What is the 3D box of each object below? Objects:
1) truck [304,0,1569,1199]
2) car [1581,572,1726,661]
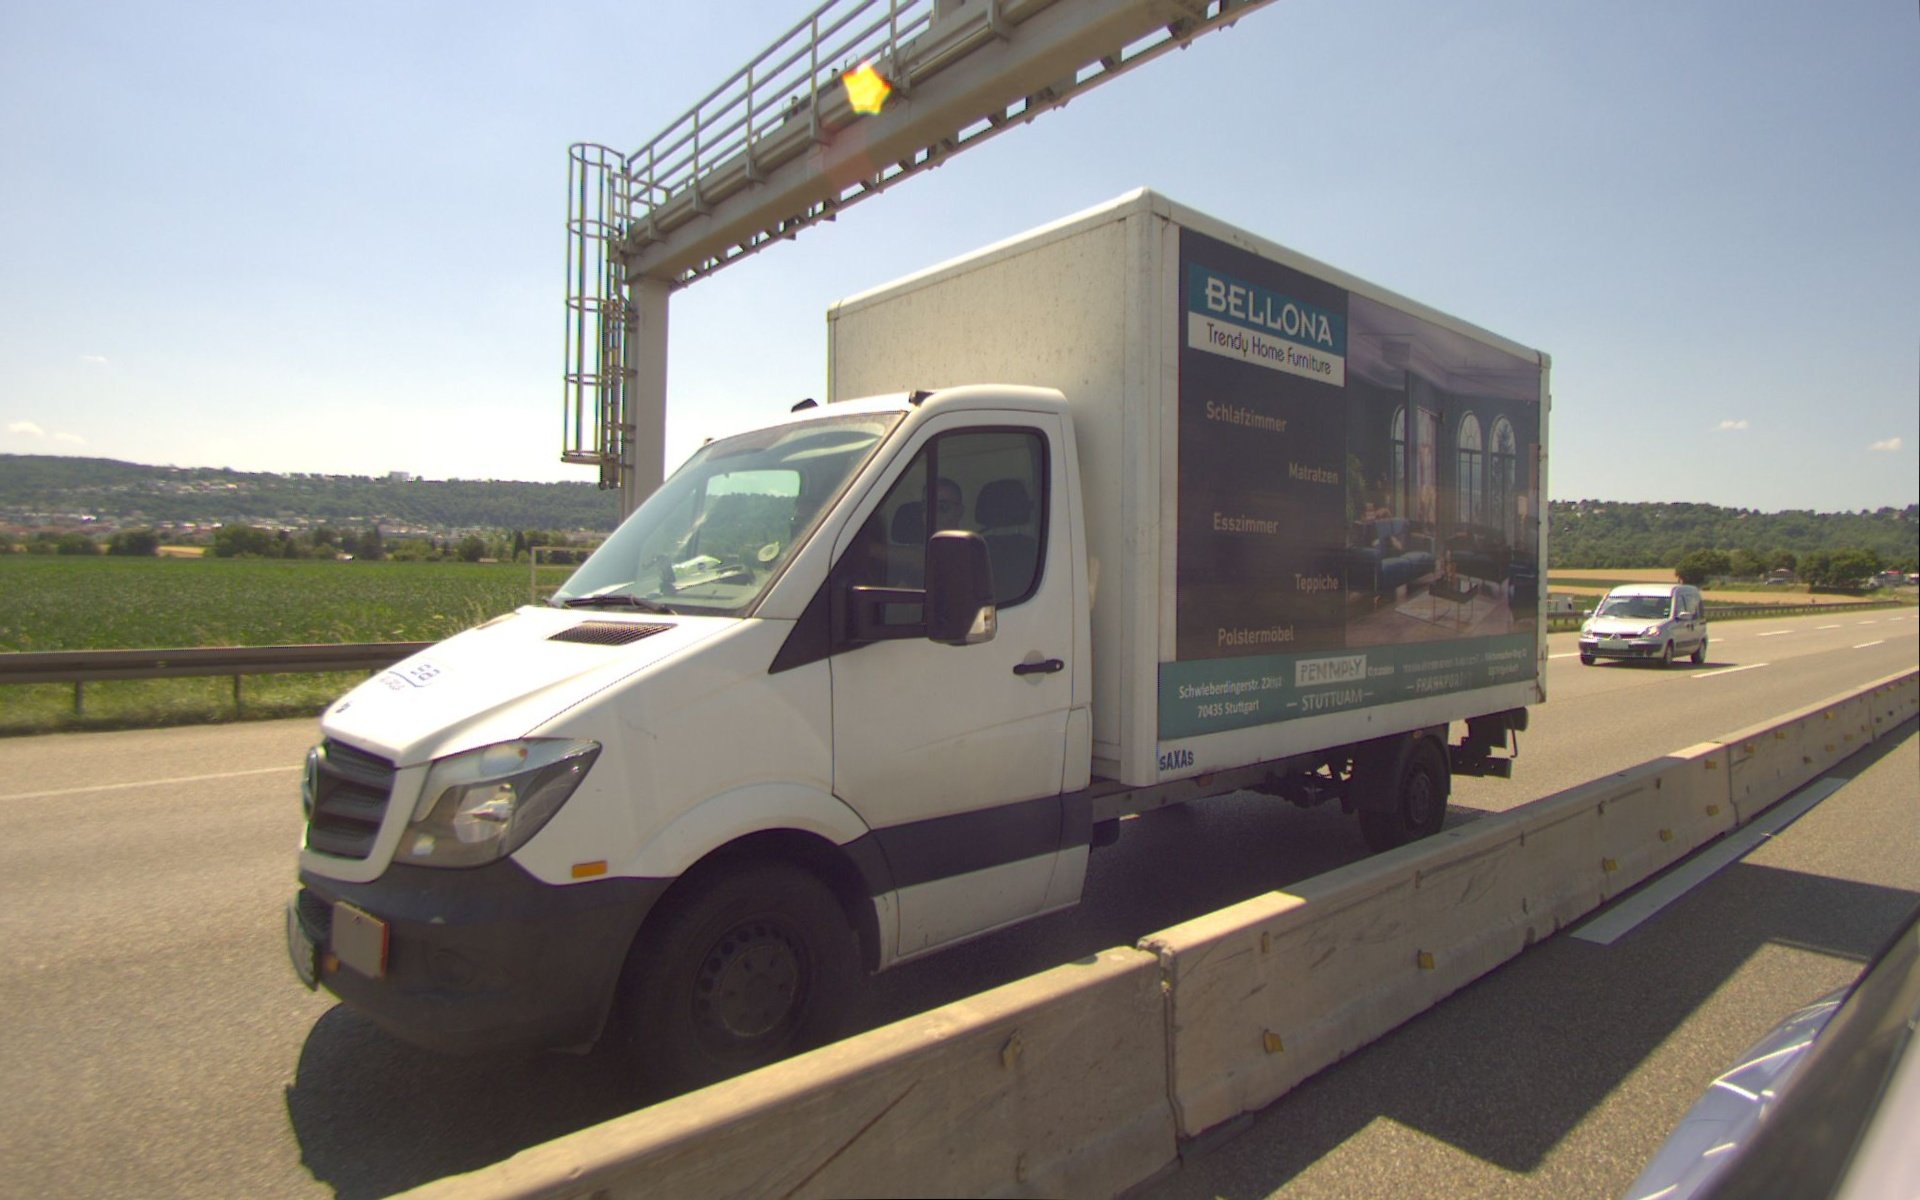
[{"bbox_3d":[0.694,-0.163,5.256,6.633,3.106,2.325,0,0,-41],"label":"truck"},{"bbox_3d":[15.153,0.322,22.049,3.902,1.759,1.630,0,0,-40],"label":"car"}]
